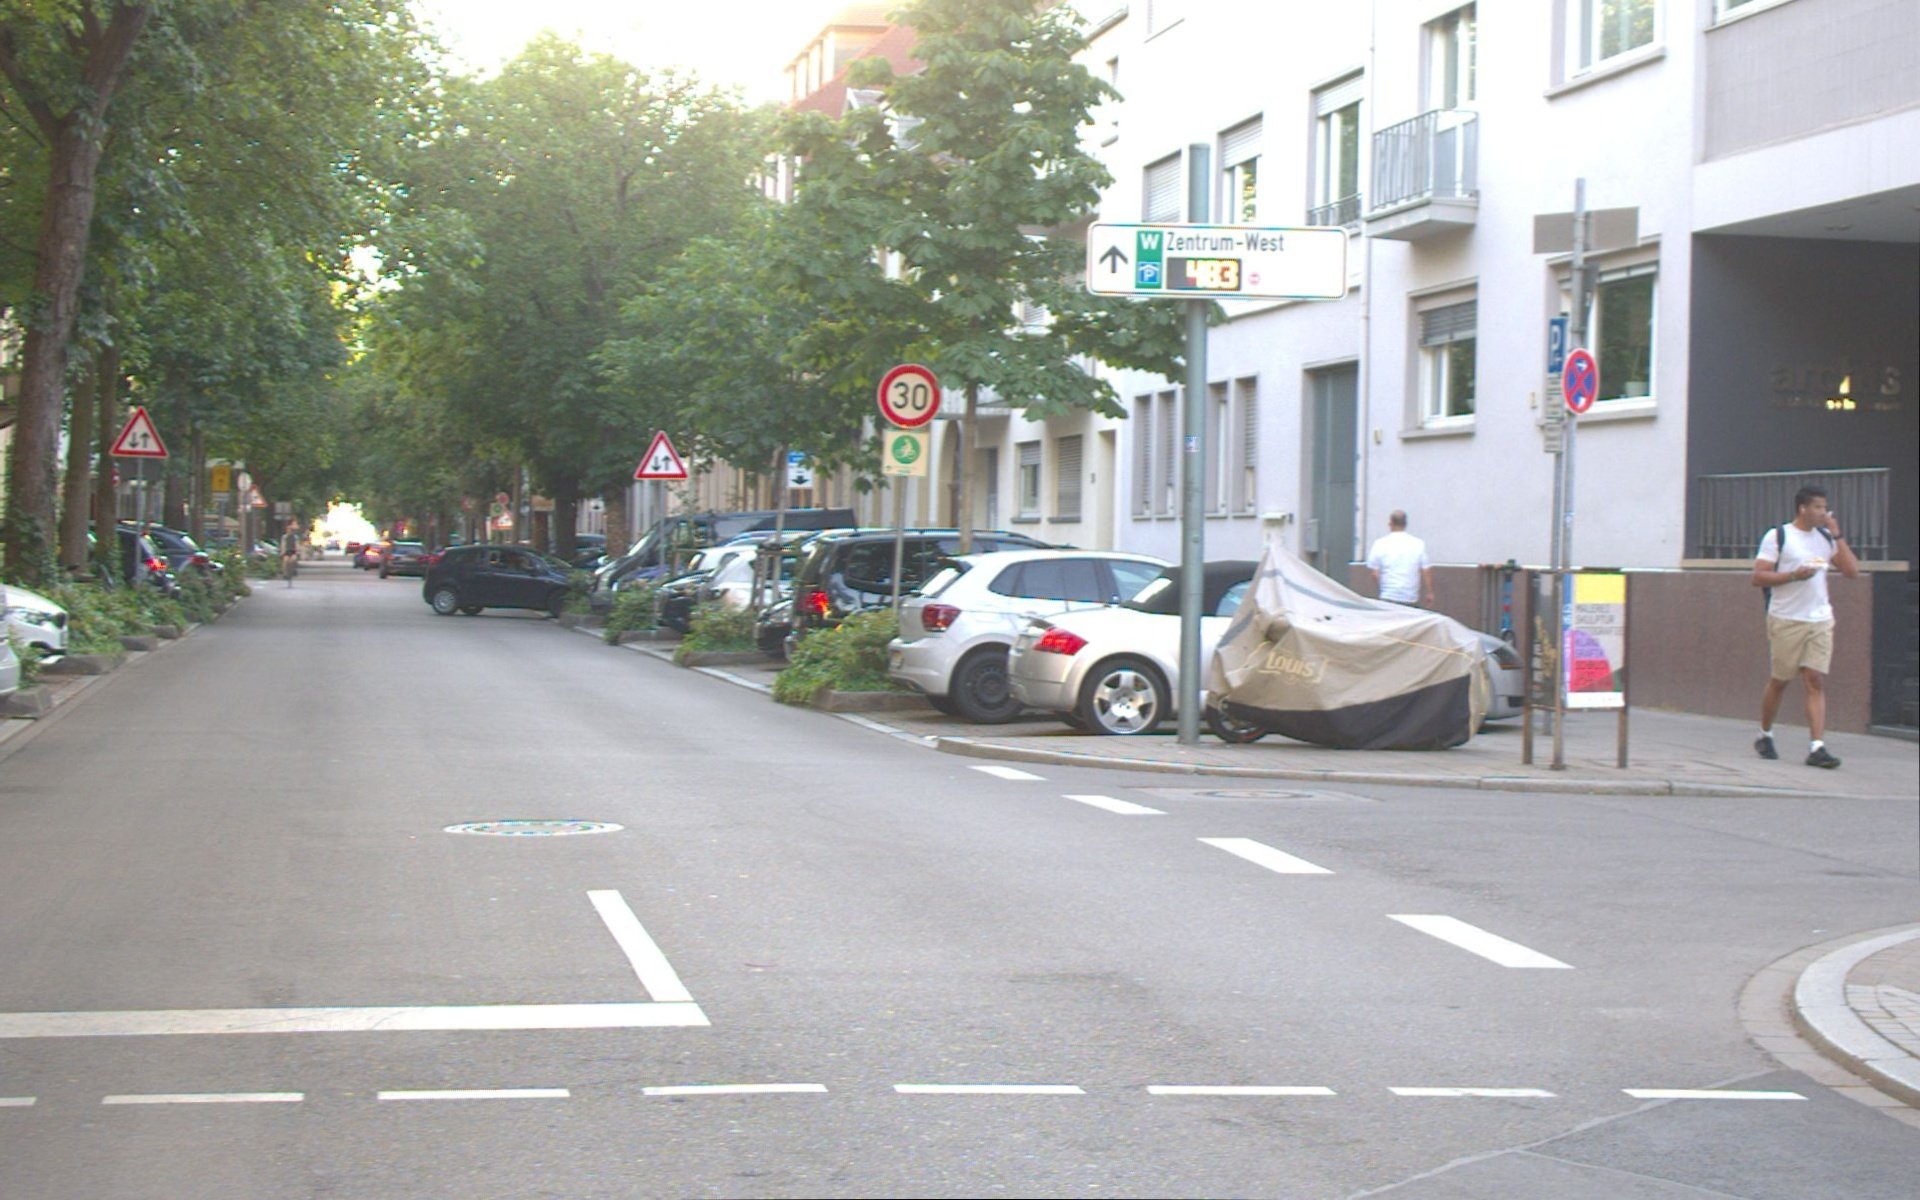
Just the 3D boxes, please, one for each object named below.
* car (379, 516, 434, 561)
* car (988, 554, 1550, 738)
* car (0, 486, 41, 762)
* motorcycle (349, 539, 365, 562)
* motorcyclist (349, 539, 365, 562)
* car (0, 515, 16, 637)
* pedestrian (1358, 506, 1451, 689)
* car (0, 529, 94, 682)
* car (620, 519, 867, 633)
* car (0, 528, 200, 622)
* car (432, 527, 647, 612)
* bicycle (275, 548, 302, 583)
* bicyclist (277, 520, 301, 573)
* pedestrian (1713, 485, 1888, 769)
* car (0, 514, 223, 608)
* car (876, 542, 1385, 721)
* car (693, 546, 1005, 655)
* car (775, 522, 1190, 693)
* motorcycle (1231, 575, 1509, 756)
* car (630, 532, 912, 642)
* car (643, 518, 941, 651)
[{"bbox_3d":[-20.526,-2.290,127.454,1.824,1.556,4.029,2,1,-11],"label":"car"},{"bbox_3d":[2.346,0.342,26.610,4.013,1.338,1.707,1,1,-9],"label":"car"},{"bbox_3d":[-8.211,0.101,21.557,4.546,1.683,1.834,1,1,-9],"label":"car"},{"bbox_3d":[-33.605,-2.779,191.541,0.818,1.232,2.026,2,1,-10],"label":"motorcycle"},{"bbox_3d":[-33.592,-2.777,191.473,0.818,1.232,0.850,2,1,-10],"label":"motorcyclist"},{"bbox_3d":[-14.652,-0.354,45.391,4.038,1.584,1.834,1,1,-9],"label":"car"},{"bbox_3d":[4.333,-0.032,33.525,0.703,1.746,0.699,2,1,-6],"label":"pedestrian"},{"bbox_3d":[-10.389,0.012,31.628,4.546,1.367,1.834,1,1,-9],"label":"car"},{"bbox_3d":[-3.716,-0.412,58.804,4.013,1.824,1.707,1,1,-10],"label":"car"},{"bbox_3d":[-14.280,-0.416,53.808,4.546,1.405,1.834,1,1,-9],"label":"car"},{"bbox_3d":[-8.688,-0.634,71.126,3.980,1.572,1.909,2,0,10],"label":"car"},{"bbox_3d":[-18.880,-0.965,96.679,0.571,0.946,1.745,2,0,-16],"label":"bicycle"},{"bbox_3d":[-18.890,-1.507,96.745,0.571,1.465,0.643,2,0,-16],"label":"bicyclist"},{"bbox_3d":[5.589,0.165,22.898,0.767,1.835,0.944,2,1,-9],"label":"pedestrian"},{"bbox_3d":[-16.563,-0.766,66.102,4.546,1.686,1.834,1,1,-9],"label":"car"},{"bbox_3d":[1.404,0.253,29.116,4.013,1.437,1.707,1,1,-10],"label":"car"},{"bbox_3d":[-1.524,0.001,46.512,4.013,1.404,1.707,1,1,-10],"label":"car"},{"bbox_3d":[0.204,0.066,35.373,4.013,1.684,1.707,1,1,-10],"label":"car"},{"bbox_3d":[2.785,0.438,23.464,1.800,1.195,0.613,1,1,-1],"label":"motorcycle"},{"bbox_3d":[-2.850,-0.204,51.564,4.013,1.525,1.707,1,1,-10],"label":"car"},{"bbox_3d":[-2.407,-0.223,48.739,4.013,1.809,1.707,1,1,-10],"label":"car"}]
